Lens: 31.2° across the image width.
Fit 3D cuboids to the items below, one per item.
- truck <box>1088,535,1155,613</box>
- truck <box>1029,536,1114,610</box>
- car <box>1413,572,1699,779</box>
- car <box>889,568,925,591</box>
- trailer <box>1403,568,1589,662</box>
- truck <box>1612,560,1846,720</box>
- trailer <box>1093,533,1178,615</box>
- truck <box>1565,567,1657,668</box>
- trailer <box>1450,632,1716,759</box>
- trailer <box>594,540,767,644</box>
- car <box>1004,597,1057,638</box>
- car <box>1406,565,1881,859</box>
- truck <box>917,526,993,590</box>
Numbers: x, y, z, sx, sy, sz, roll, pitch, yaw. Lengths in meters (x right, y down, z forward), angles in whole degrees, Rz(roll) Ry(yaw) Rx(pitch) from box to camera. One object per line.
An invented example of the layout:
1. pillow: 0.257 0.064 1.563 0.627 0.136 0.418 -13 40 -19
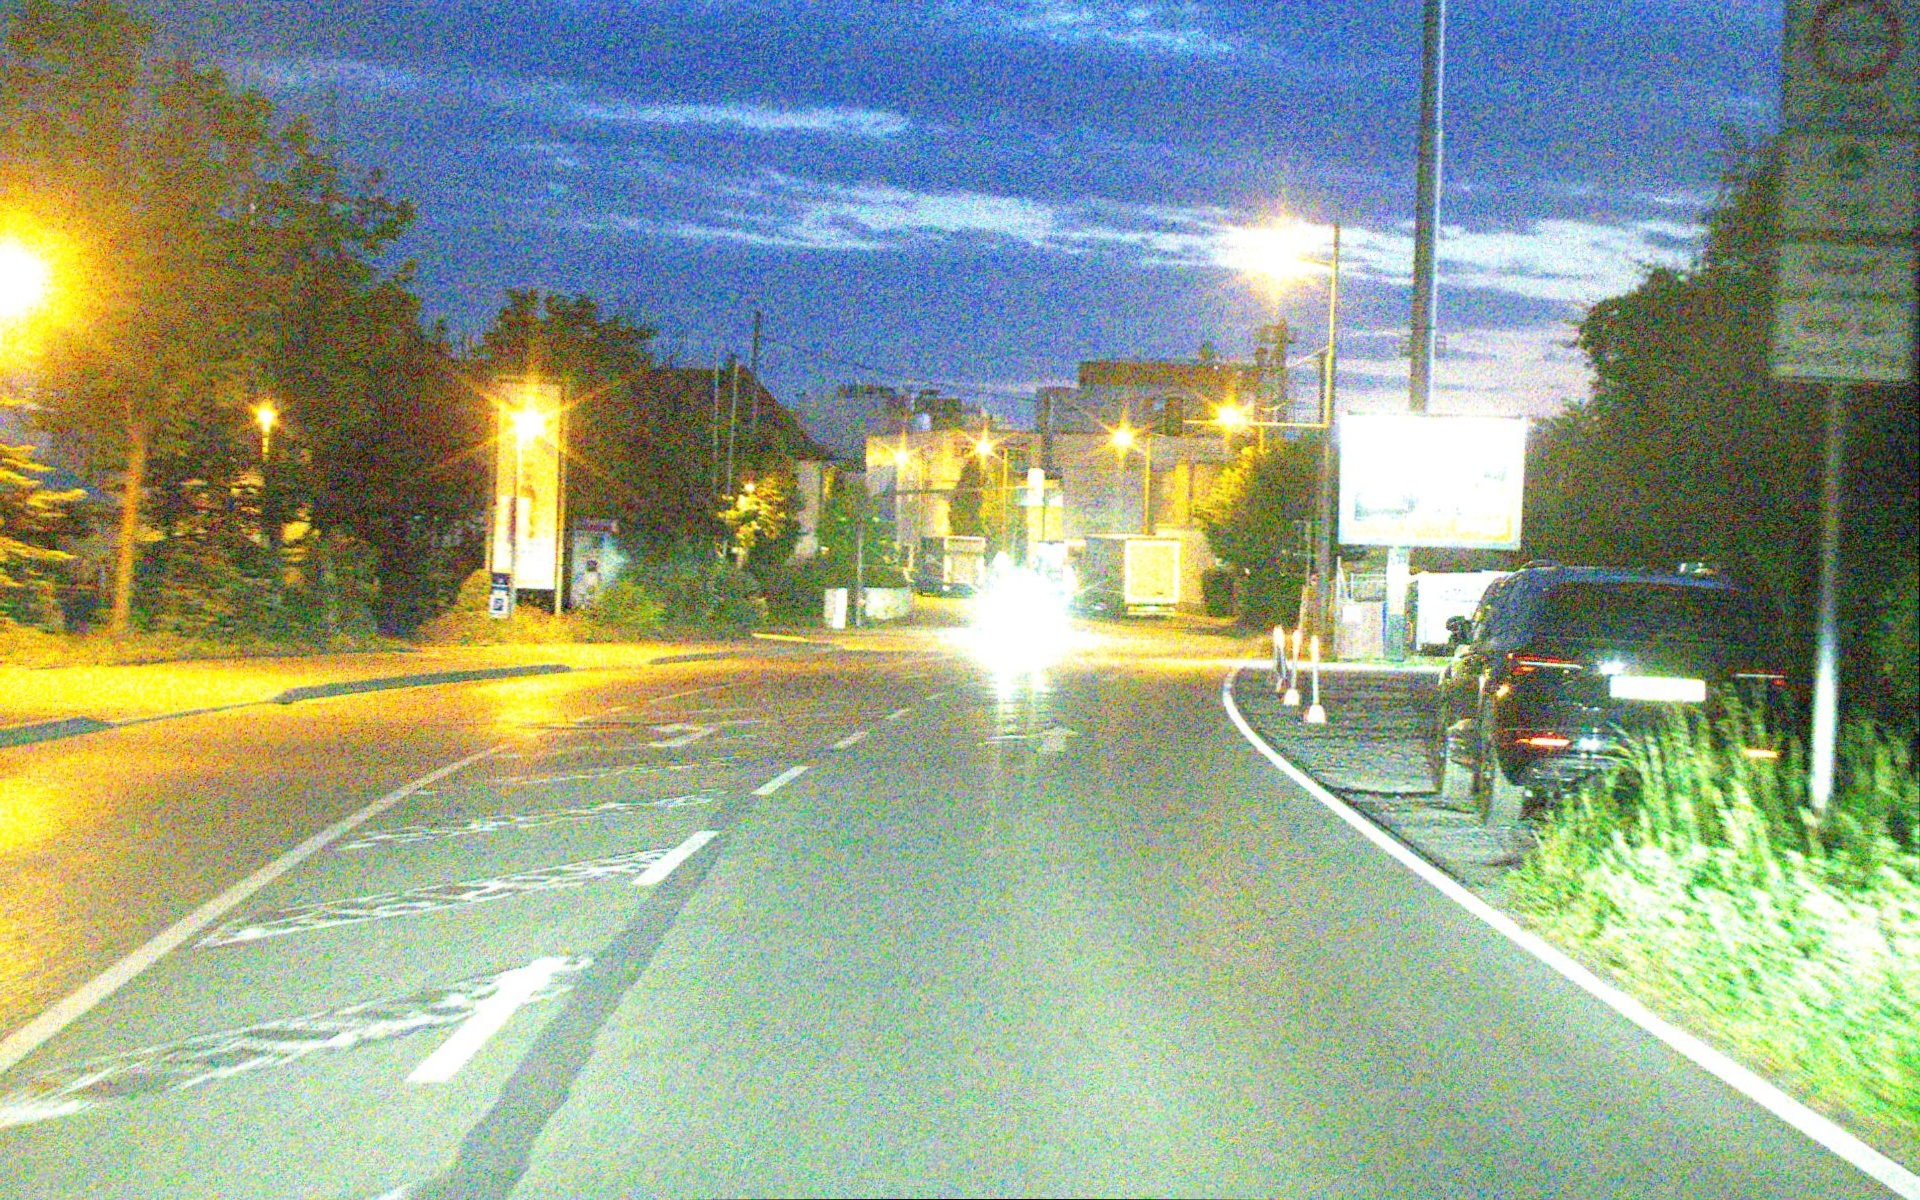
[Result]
1. truck: 8.438 -1.360 179.861 2.830 3.970 6.051 1 1 -3
2. truck: 6.104 -1.501 190.571 2.829 3.970 10.345 1 1 -9
3. car: 4.995 0.593 29.311 1.935 1.547 3.999 3 0 4
4. car: -3.720 -1.431 238.862 1.852 1.514 3.819 1 1 -11
5. trailer: 11.947 0.316 76.674 3.753 2.007 1.612 1 1 29
6. truck: 12.126 0.601 54.802 2.378 2.276 7.743 2 0 4
7. trailer: 8.767 -1.334 173.385 2.808 3.969 13.976 1 1 -3
8. truck: 18.869 0.516 99.925 2.184 2.739 7.313 3 0 8
9. trailer: 6.760 0.978 38.327 2.174 0.963 9.613 4 1 6
10. trailer: -7.478 -0.227 92.296 4.349 2.711 2.000 1 0 4
11. car: 3.021 0.743 146.437 1.994 1.621 4.751 2 0 4
12. car: 4.126 0.608 21.501 1.993 1.546 4.326 3 1 -1
13. truck: -0.380 -2.722 223.658 3.520 3.970 10.344 1 1 -8
